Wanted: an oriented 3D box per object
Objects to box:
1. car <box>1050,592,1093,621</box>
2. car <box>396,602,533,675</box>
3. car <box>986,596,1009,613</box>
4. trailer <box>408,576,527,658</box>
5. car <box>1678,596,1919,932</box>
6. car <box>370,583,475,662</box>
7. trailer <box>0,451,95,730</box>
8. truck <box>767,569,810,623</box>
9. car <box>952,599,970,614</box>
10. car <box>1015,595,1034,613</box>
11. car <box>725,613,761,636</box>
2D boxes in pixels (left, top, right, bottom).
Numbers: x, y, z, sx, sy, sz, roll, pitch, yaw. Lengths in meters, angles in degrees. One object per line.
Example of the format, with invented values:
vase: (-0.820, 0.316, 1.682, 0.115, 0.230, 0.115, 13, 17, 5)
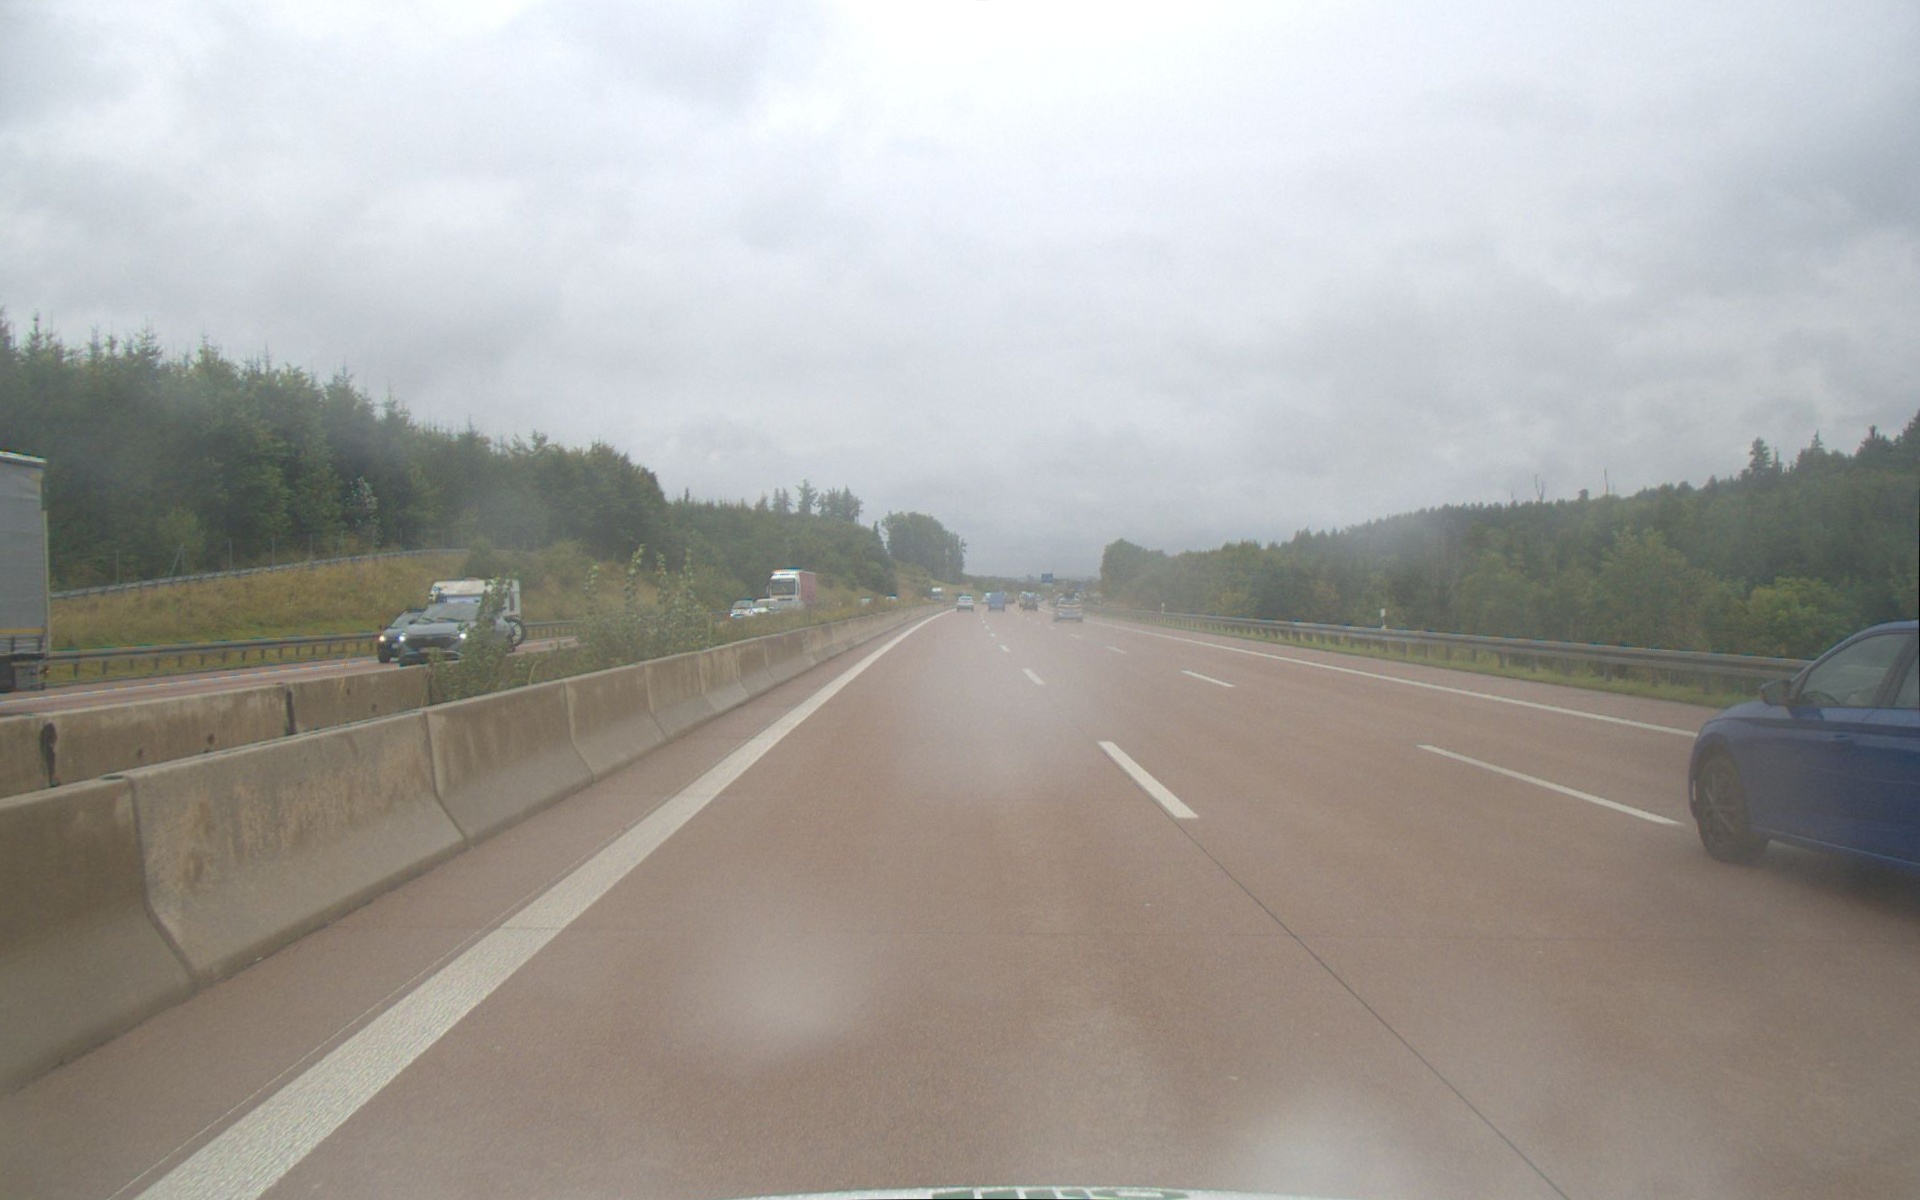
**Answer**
car: (7.305, 0.463, 108.921, 2.276, 1.780, 4.874, 1, -1, -3)
car: (-12.066, 0.888, 40.682, 1.657, 1.584, 5.676, -2, 0, -1)
car: (4.121, 0.549, 183.504, 2.276, 1.780, 4.874, 1, -1, -3)
trailer: (-16.084, 0.507, 54.354, 2.231, 2.453, 5.437, -3, 0, -1)
car: (5.415, 0.799, 8.365, 1.735, 1.591, 4.145, 1, -1, -1)
car: (-15.976, 0.630, 49.362, 1.722, 2.190, 4.427, -2, 0, -2)
trailer: (-15.768, -0.173, 21.250, 2.683, 4.212, 12.752, -2, -1, -1)
truck: (-14.899, -0.317, 144.103, 2.890, 4.556, 6.791, 1, -1, 0)
car: (0.115, 0.698, 176.367, 1.835, 1.470, 4.876, 1, -1, 0)
car: (7.556, 0.499, 194.264, 1.954, 2.049, 3.997, 1, -1, -3)
car: (-15.650, 1.750, 119.458, 1.953, 1.603, 4.524, -1, -1, 0)
